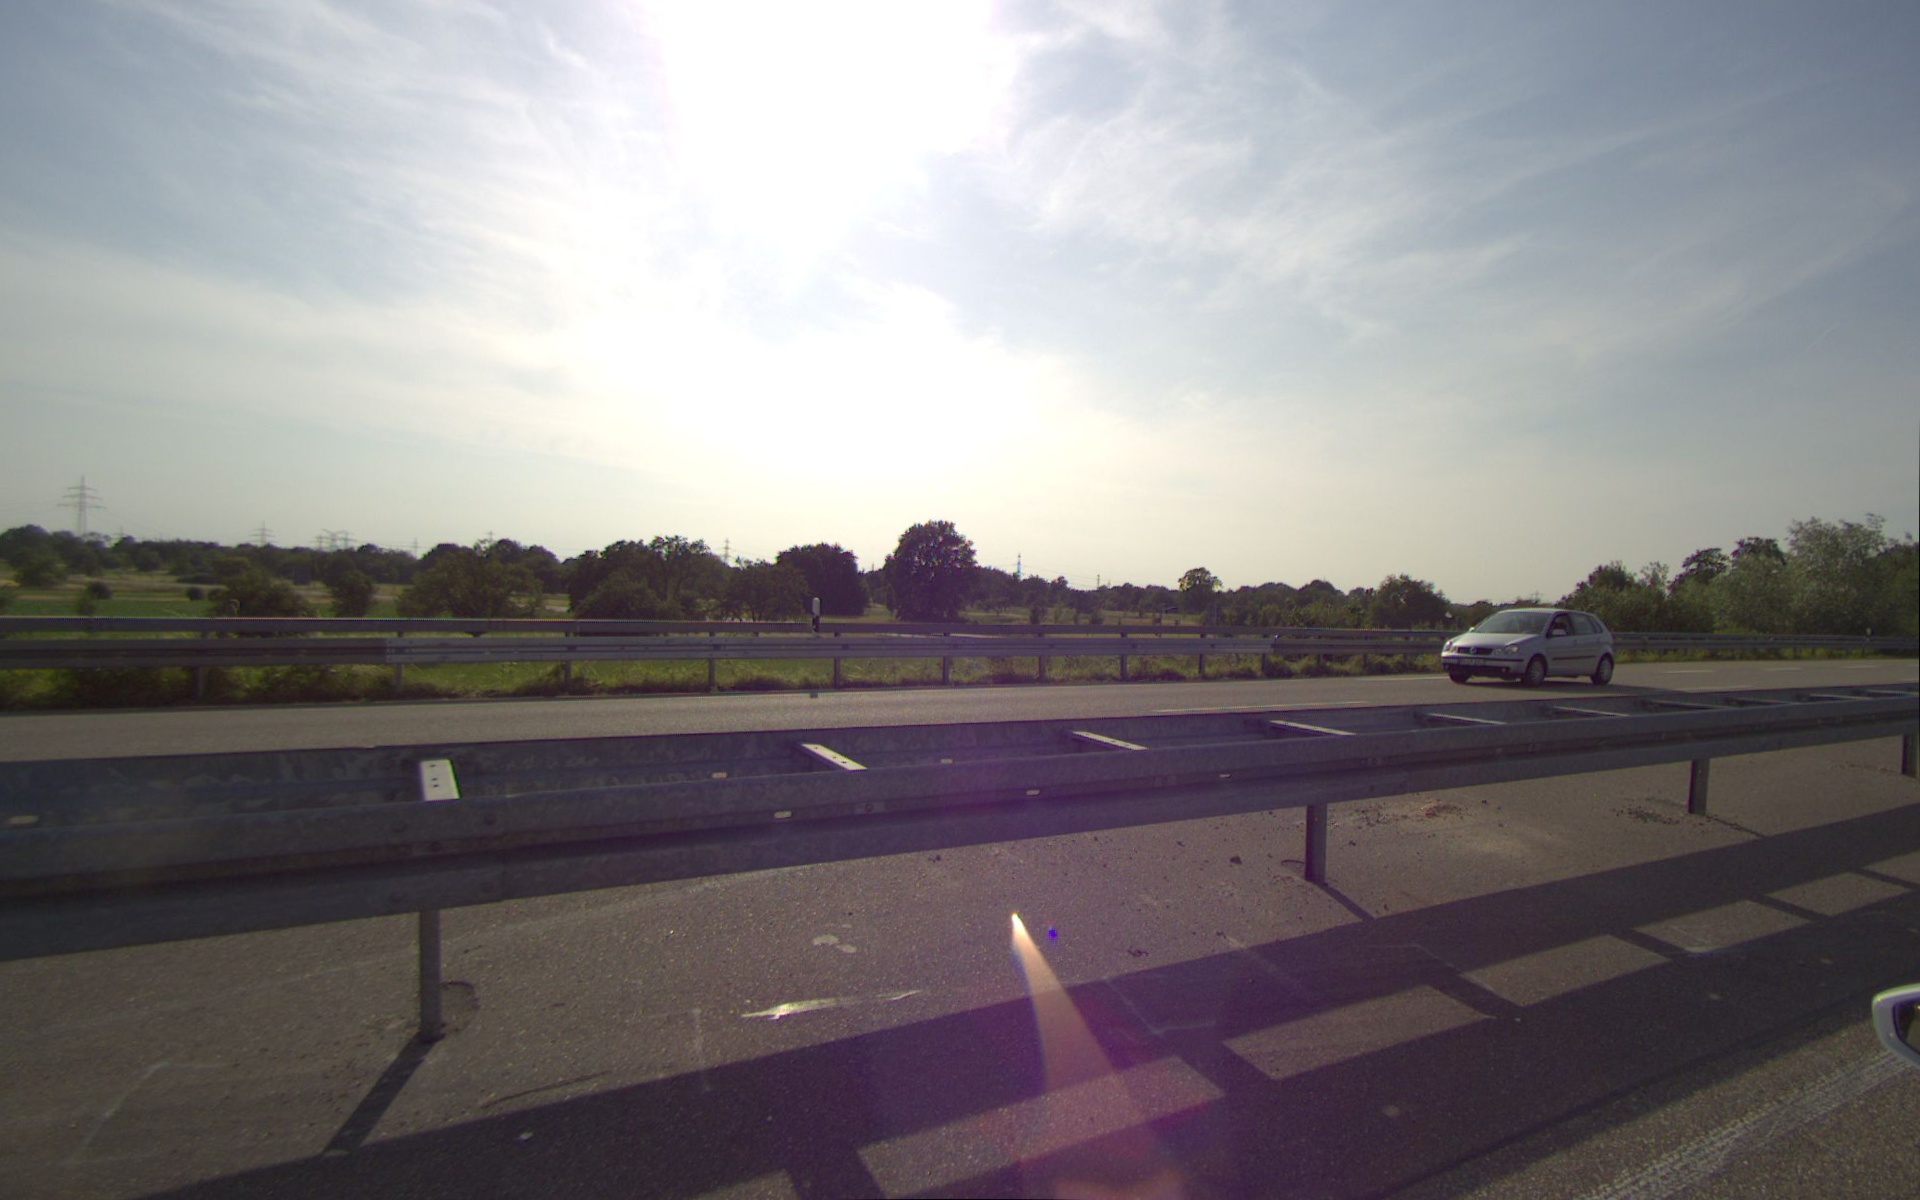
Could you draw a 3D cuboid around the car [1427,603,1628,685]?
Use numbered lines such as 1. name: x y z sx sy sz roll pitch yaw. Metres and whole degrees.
1. car: 11.056 0.832 19.516 3.953 1.439 1.632 2 -1 -30
